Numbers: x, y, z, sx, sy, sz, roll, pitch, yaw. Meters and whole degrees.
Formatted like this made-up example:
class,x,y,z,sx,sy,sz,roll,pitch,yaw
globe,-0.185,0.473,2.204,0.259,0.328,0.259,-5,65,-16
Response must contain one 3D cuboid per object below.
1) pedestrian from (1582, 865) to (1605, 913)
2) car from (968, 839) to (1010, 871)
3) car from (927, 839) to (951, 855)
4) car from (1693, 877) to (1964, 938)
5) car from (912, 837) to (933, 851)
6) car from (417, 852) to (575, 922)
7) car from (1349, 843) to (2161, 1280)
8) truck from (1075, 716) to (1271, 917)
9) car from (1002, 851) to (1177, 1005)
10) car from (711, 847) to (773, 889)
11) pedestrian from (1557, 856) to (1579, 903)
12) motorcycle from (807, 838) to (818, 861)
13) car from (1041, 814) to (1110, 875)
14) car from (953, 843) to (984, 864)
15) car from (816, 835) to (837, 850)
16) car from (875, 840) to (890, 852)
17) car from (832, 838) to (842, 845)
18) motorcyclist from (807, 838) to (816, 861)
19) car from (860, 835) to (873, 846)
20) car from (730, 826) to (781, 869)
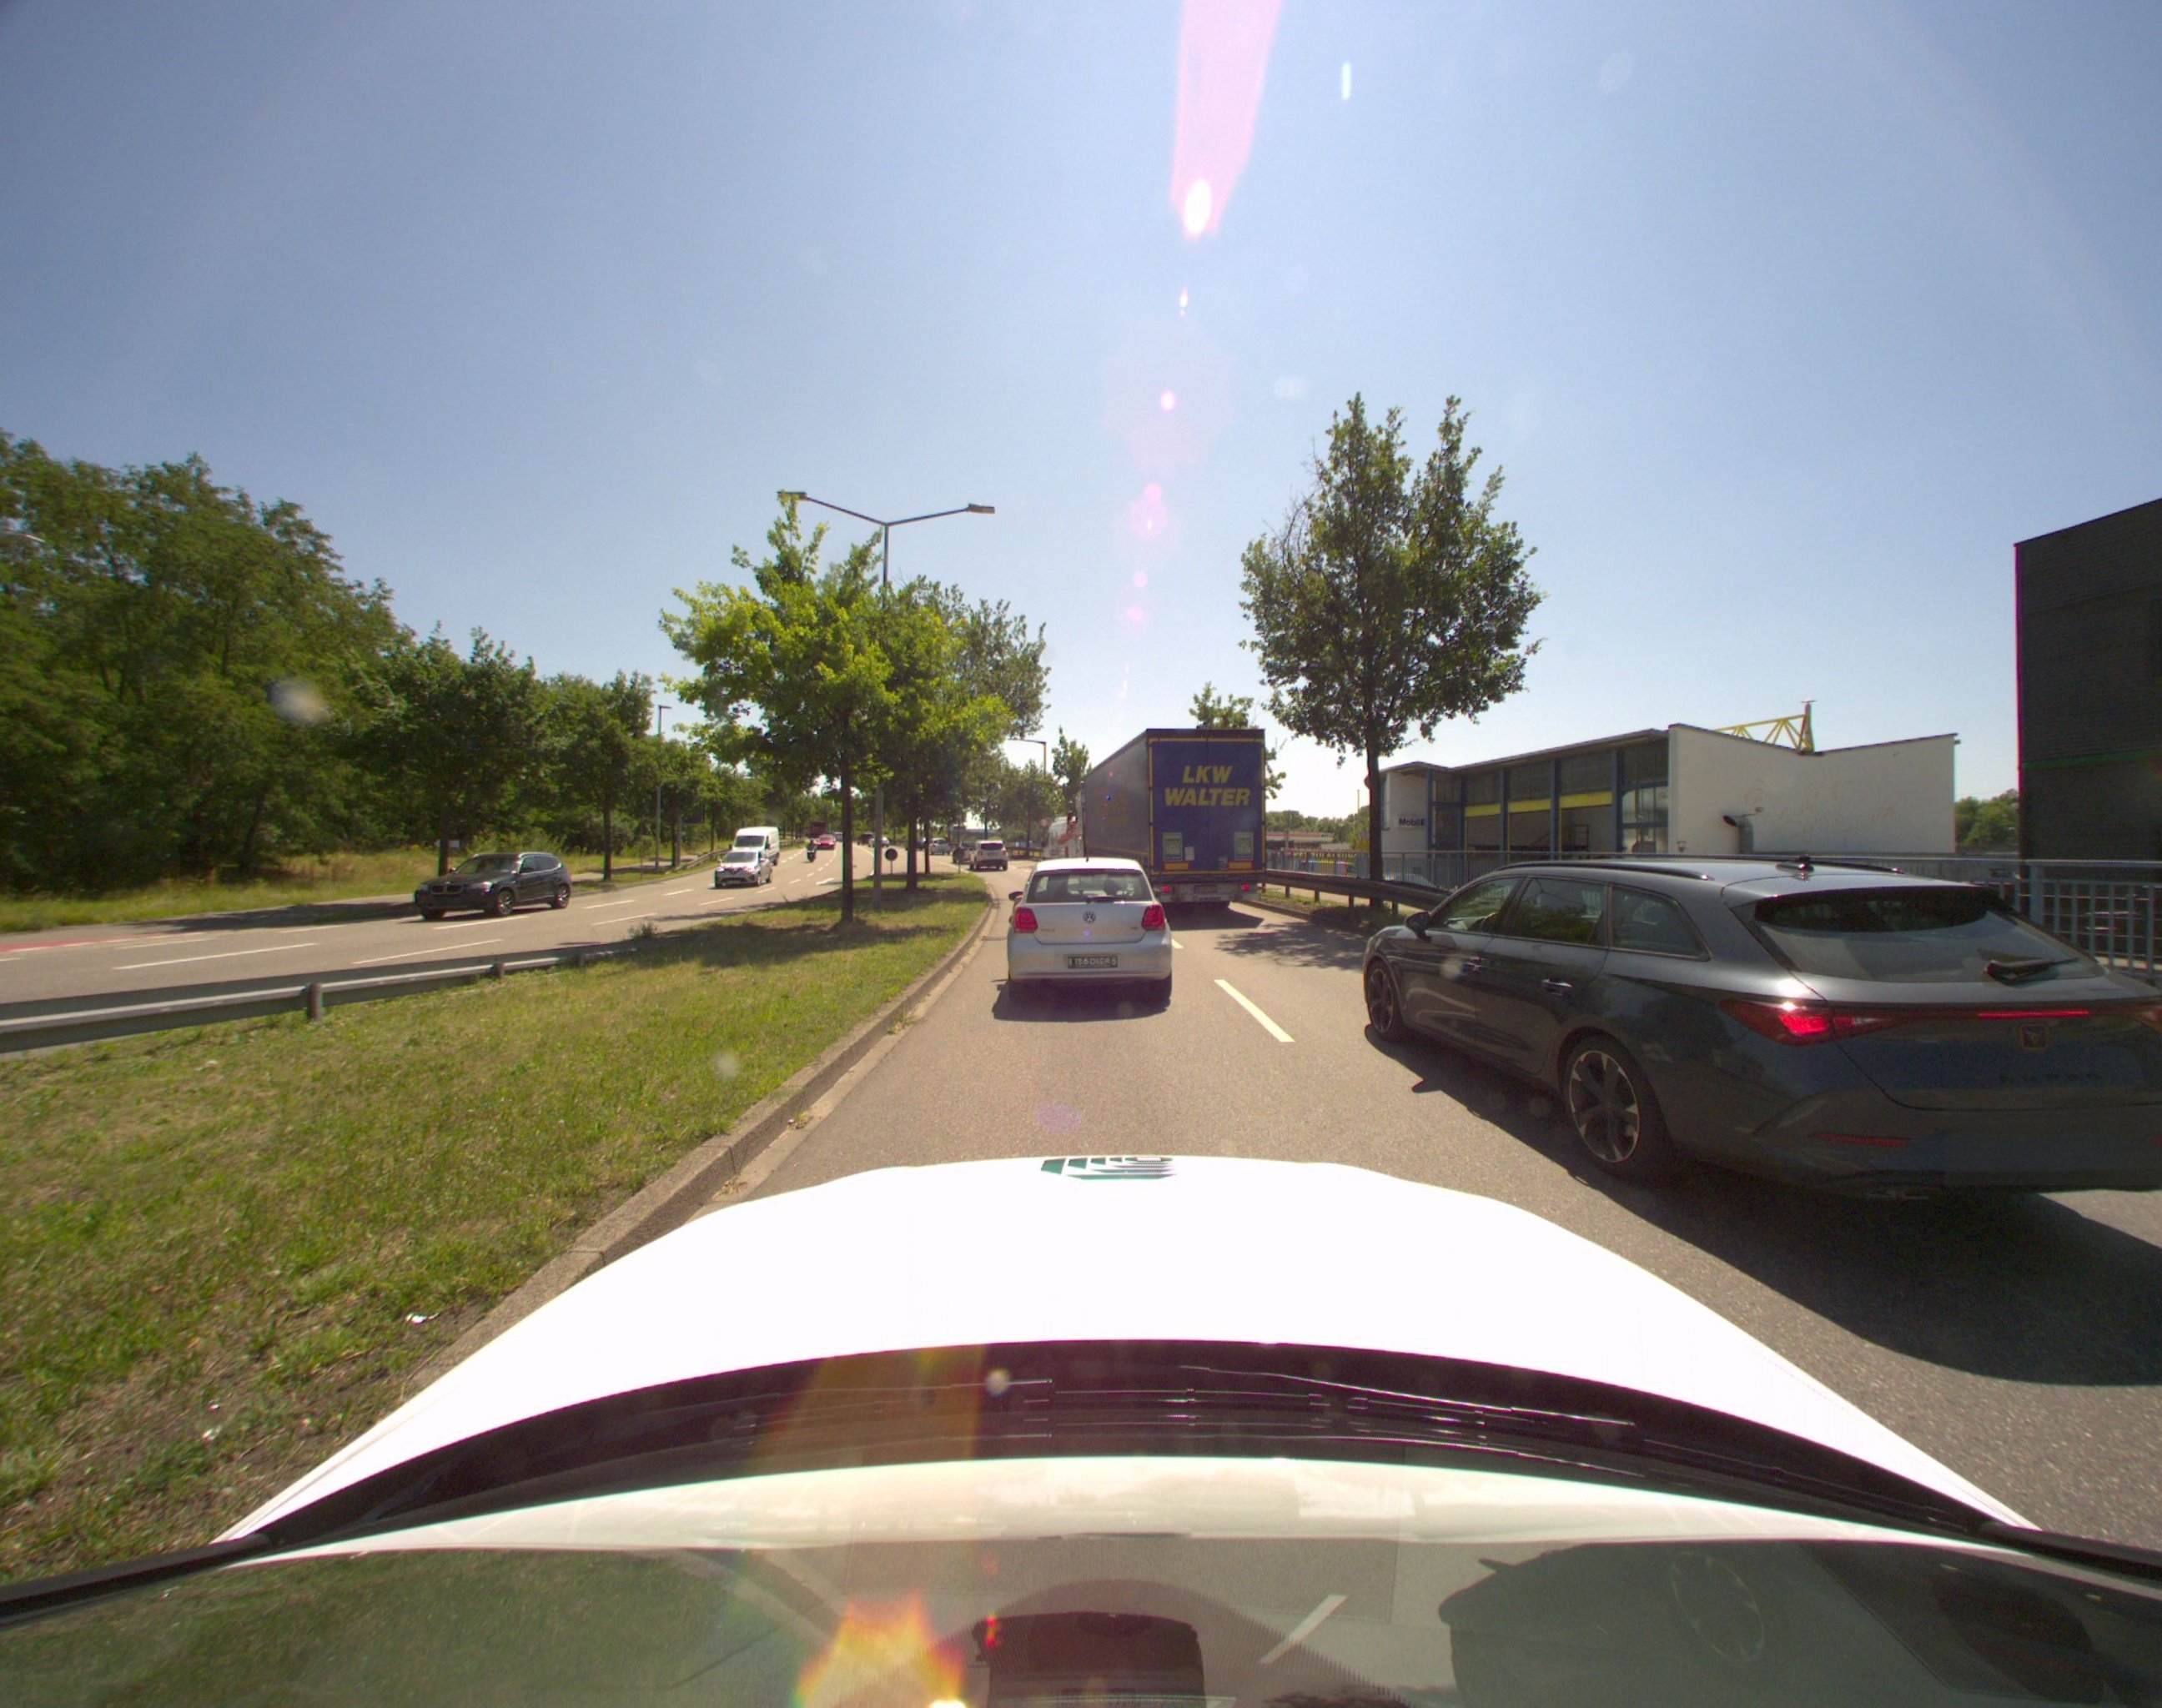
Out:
class,x,y,z,sx,sy,sz,roll,pitch,yaw
pedestrian,18.336,1.236,29.155,0.425,1.702,0.588,0,0,-7
car,-5.284,0.068,46.491,1.906,1.718,4.204,0,0,-13
car,-12.730,-0.622,72.825,1.613,1.360,3.640,0,1,-19
car,19.475,1.346,21.623,5.017,1.358,2.013,0,0,32
car,-16.471,-1.014,84.398,1.670,1.465,3.558,0,0,-19
car,-15.630,0.814,22.062,1.487,1.633,4.461,-2,0,-8
car,3.159,0.698,4.879,1.600,1.456,4.232,0,0,-2
truck,1.896,-0.871,25.356,2.829,4.198,16.444,0,1,-5
car,0.104,0.699,9.416,1.640,1.439,3.537,0,0,1
car,-14.409,0.536,34.809,1.635,1.567,4.057,-1,2,-12
pedestrian,17.882,0.921,29.910,0.521,1.702,0.487,0,-1,-6
motorcycle,-19.510,-0.313,59.126,0.598,1.678,2.413,0,0,-15
car,-0.396,-0.519,41.836,2.178,2.900,6.330,0,1,-13
car,-7.575,-0.071,54.743,1.498,1.360,3.641,0,1,-17
car,-27.033,-1.243,86.623,1.834,1.437,4.503,-2,0,-14
car,-23.504,-0.966,96.406,1.461,1.314,3.614,0,0,-19
car,-37.699,-1.906,125.897,1.326,1.138,2.975,0,0,-20
motorcyclist,-19.520,-0.310,59.062,0.588,1.626,0.560,0,-1,-14
car,-28.173,-1.731,107.087,1.422,1.314,3.316,0,0,-19
car,-20.608,-0.468,51.808,2.097,2.500,5.783,-2,2,-14
